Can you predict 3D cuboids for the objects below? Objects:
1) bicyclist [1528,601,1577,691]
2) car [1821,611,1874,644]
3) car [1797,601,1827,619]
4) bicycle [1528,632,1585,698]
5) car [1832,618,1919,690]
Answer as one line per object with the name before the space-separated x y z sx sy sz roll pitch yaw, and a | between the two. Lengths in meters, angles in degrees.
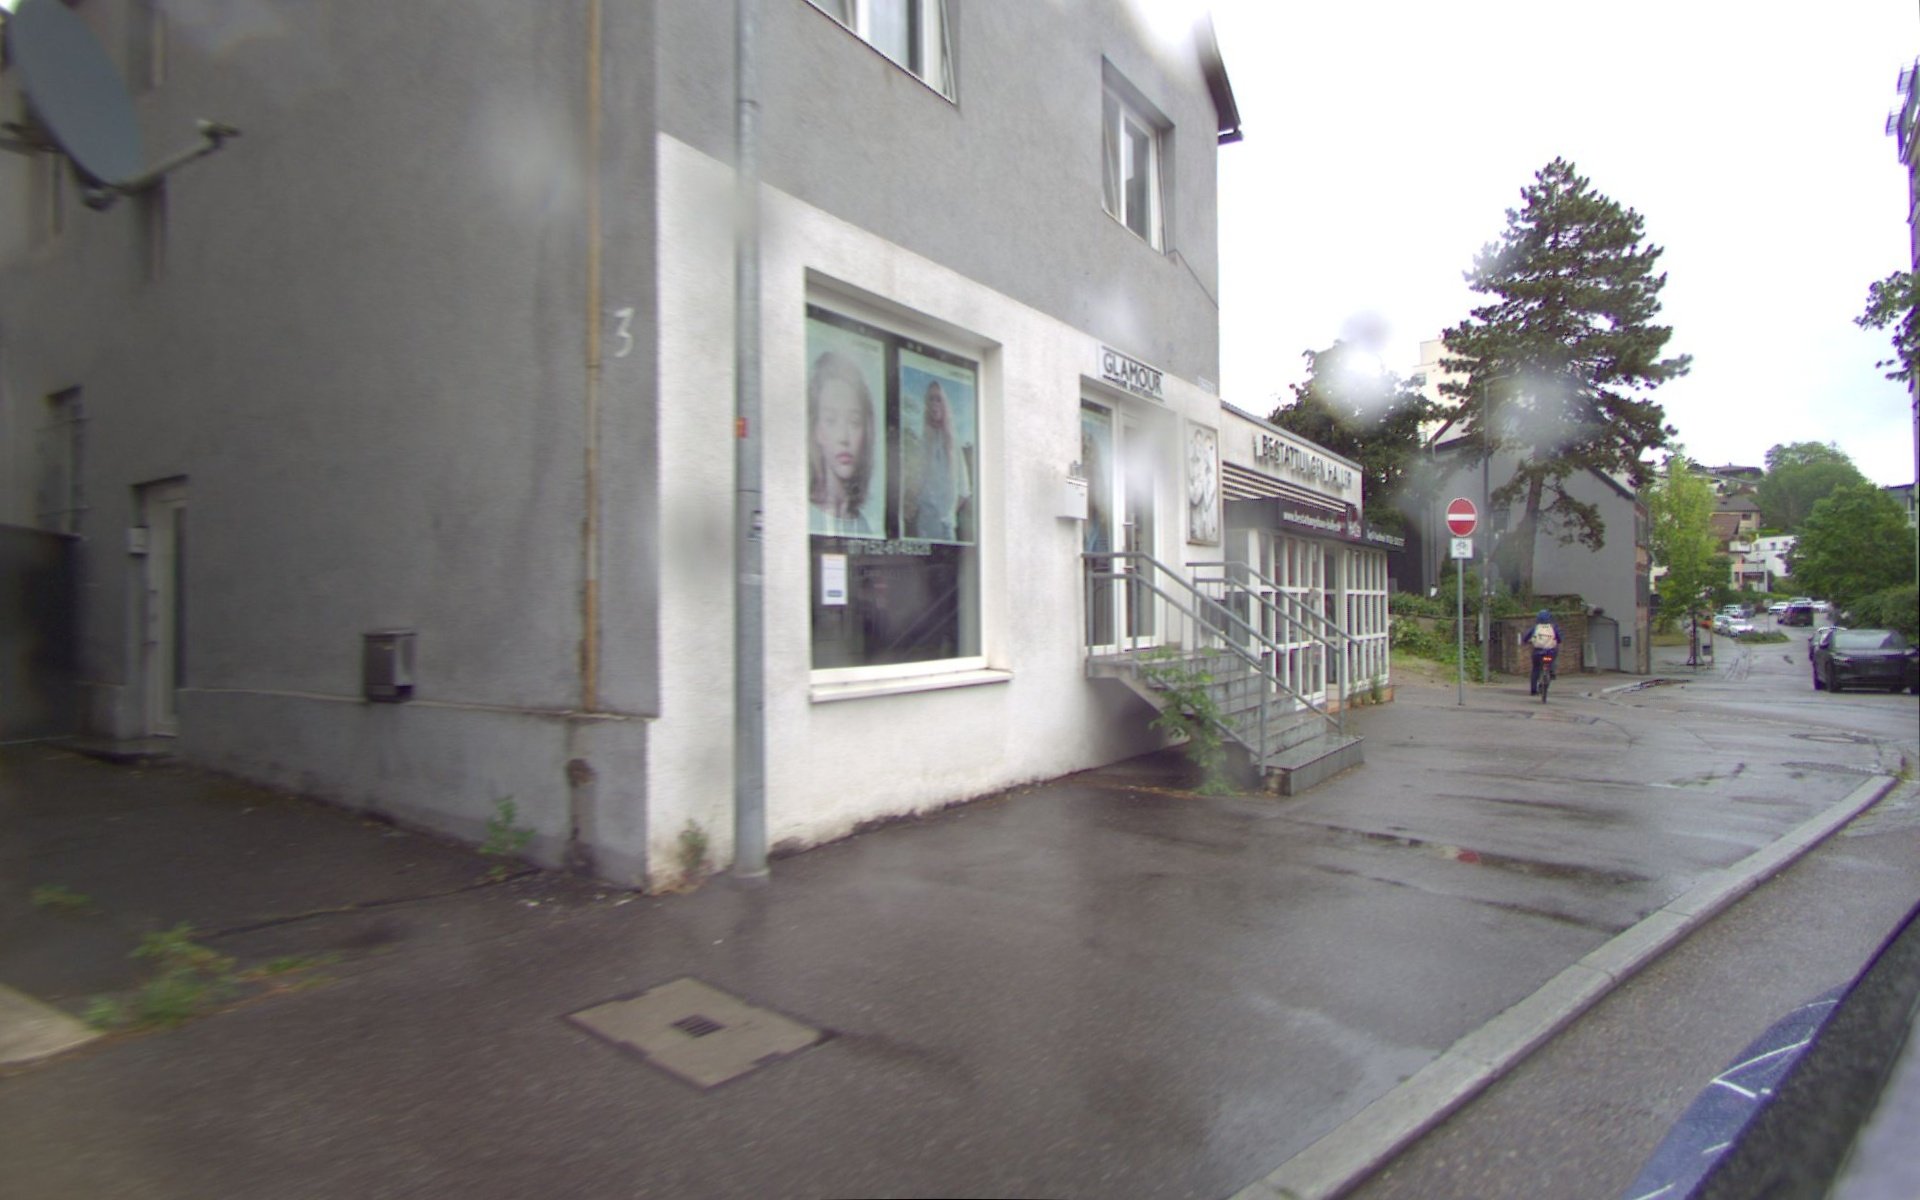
bicyclist | 10.523 0.801 17.996 0.678 1.537 1.021 0 -1 26
car | 47.713 1.490 54.493 1.990 1.594 3.942 -3 -1 40
car | 82.833 0.941 98.362 1.994 1.593 3.936 1 -2 44
bicycle | 10.543 1.171 17.937 0.756 1.048 2.059 0 -6 27
car | 23.494 1.302 25.553 1.994 1.672 3.935 -1 -2 44
